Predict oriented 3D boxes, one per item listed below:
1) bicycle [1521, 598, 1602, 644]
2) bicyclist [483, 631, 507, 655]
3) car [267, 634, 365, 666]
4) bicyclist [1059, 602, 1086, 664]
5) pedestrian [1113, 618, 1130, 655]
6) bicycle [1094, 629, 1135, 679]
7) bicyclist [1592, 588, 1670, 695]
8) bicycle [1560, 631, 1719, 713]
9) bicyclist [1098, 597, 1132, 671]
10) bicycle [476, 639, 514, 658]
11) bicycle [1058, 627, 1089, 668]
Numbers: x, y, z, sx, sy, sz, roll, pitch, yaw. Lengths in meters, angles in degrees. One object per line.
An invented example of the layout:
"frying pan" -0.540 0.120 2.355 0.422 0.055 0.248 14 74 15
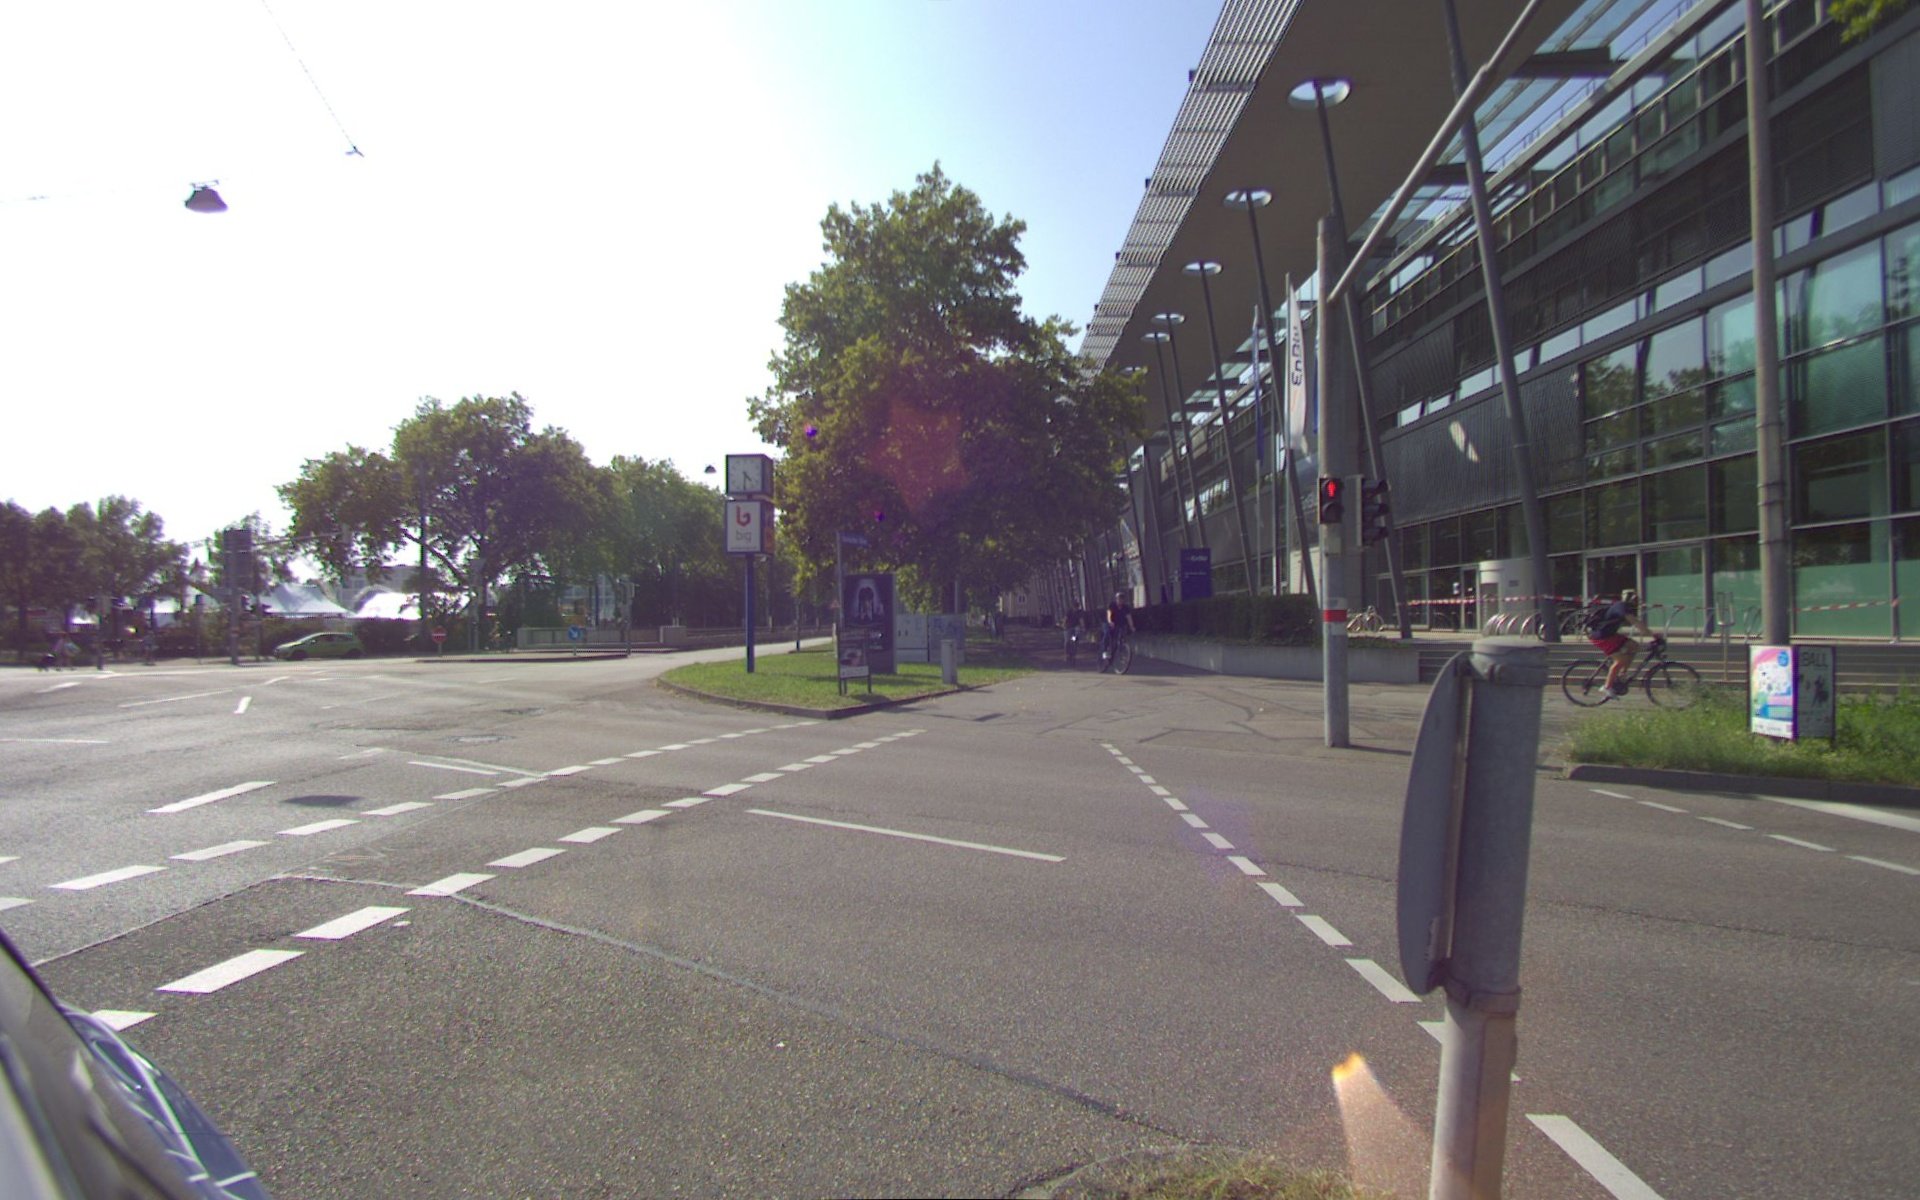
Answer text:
"bicycle" 15.029 0.521 25.291 1.837 1.102 0.528 0 -1 -10
"bicyclist" -21.956 2.030 47.763 0.900 1.149 0.518 -1 -1 15
"car" -33.432 2.580 52.618 2.000 1.564 3.942 -2 -2 44
"bicyclist" 3.146 0.918 28.309 0.625 1.701 0.809 0 -2 -1
"pedestrian" 6.103 1.378 38.232 0.482 1.375 0.539 0 -1 -4
"bicycle" 3.613 1.239 23.731 0.677 1.099 1.896 -1 -2 1
"bicyclist" 9.980 0.600 15.053 0.885 1.529 0.647 -1 -1 41
"bicycle" 10.037 1.035 15.000 1.887 1.119 0.649 -1 -1 41
"bicyclist" 3.623 0.799 23.707 0.660 1.701 0.809 0 -2 1
"bicycle" -21.948 2.306 47.758 1.721 0.872 0.527 -1 -2 16
"bicycle" 3.156 1.320 28.295 0.635 1.103 1.650 0 -1 -1
